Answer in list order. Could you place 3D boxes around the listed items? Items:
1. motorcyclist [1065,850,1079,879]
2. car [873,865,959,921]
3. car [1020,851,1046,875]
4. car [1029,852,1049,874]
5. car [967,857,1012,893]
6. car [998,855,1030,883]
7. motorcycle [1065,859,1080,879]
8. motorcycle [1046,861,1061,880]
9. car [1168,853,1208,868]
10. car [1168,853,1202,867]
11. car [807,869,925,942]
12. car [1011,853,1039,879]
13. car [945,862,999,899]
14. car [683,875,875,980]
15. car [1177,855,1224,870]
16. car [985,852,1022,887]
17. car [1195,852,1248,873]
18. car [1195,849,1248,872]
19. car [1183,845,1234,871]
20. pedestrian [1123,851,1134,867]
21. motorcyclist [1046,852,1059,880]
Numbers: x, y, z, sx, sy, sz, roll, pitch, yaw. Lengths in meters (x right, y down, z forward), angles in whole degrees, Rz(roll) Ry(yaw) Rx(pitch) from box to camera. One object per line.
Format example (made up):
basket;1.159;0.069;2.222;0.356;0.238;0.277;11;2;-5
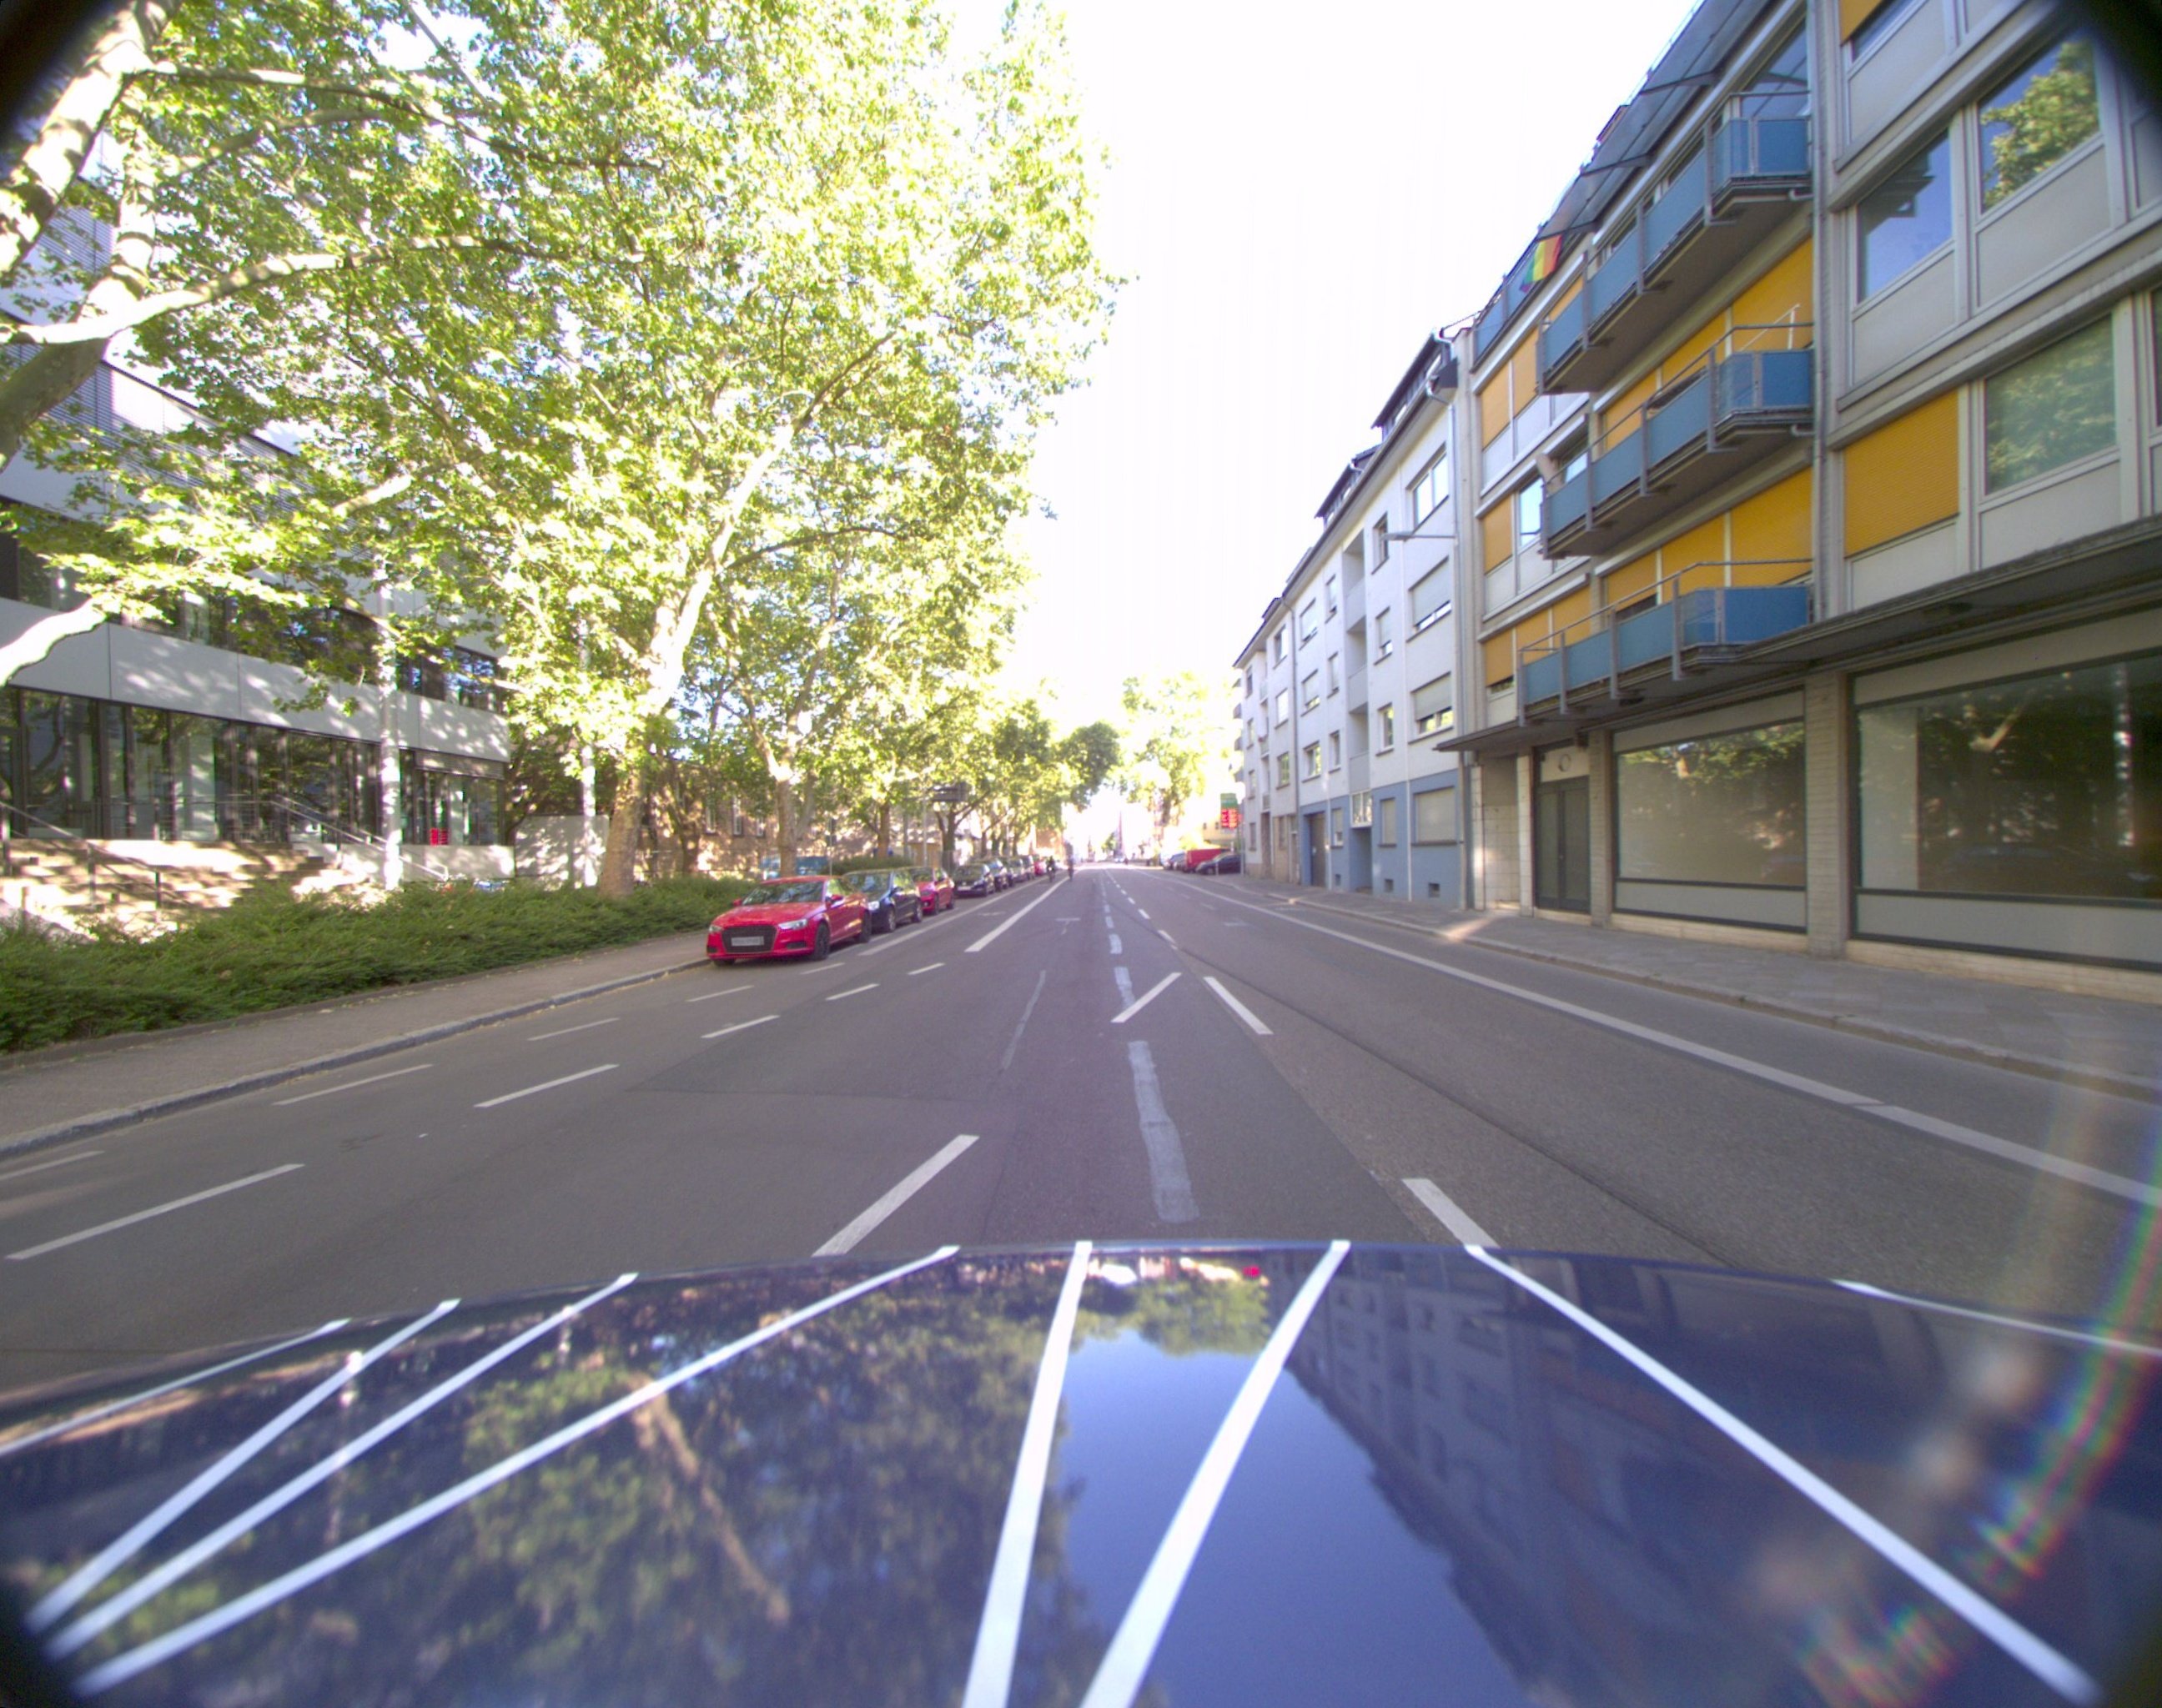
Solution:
motorcyclist;-0.556;0.646;48.612;0.833;1.778;0.913;-2;1;1
car;-5.017;1.133;23.675;1.692;1.441;3.923;-2;1;1
car;-4.173;0.724;66.082;1.915;1.940;3.769;-2;1;0
car;-3.905;0.808;70.993;1.599;1.835;3.769;-2;1;0
car;-4.521;0.993;38.097;1.634;1.569;4.231;-2;1;0
car;-4.356;0.940;50.102;1.634;1.604;4.576;-2;1;0
motorcycle;-0.534;0.960;48.483;0.865;1.161;1.929;-2;1;1
motorcycle;-1.737;1.033;47.761;0.799;1.125;2.236;-2;1;1
car;10.265;0.628;73.019;3.687;1.238;1.345;-2;1;2
car;10.321;0.583;75.457;3.271;1.238;1.345;-2;1;2
car;-5.054;1.163;18.401;1.669;1.410;3.697;-2;1;1
car;-4.040;0.816;55.229;1.634;1.725;3.769;-2;1;0
car;-4.697;1.112;33.226;1.692;1.414;3.923;-2;1;0
car;-5.165;1.180;13.648;1.794;1.384;3.999;-2;1;0
car;9.809;0.694;62.578;3.687;1.122;1.345;-2;1;2
car;-4.458;0.854;44.230;1.634;1.781;4.576;-2;1;0
car;10.088;0.590;54.719;3.508;1.380;1.490;-2;1;2
car;10.531;0.486;57.087;3.687;1.503;1.490;-2;1;2
car;10.058;0.322;59.932;3.688;1.897;1.490;-2;-1;-1
pedestrian;5.185;0.517;83.039;0.894;1.727;0.827;-3;1;-41
motorcyclist;-1.760;0.753;47.751;0.719;1.733;0.751;-2;1;1
